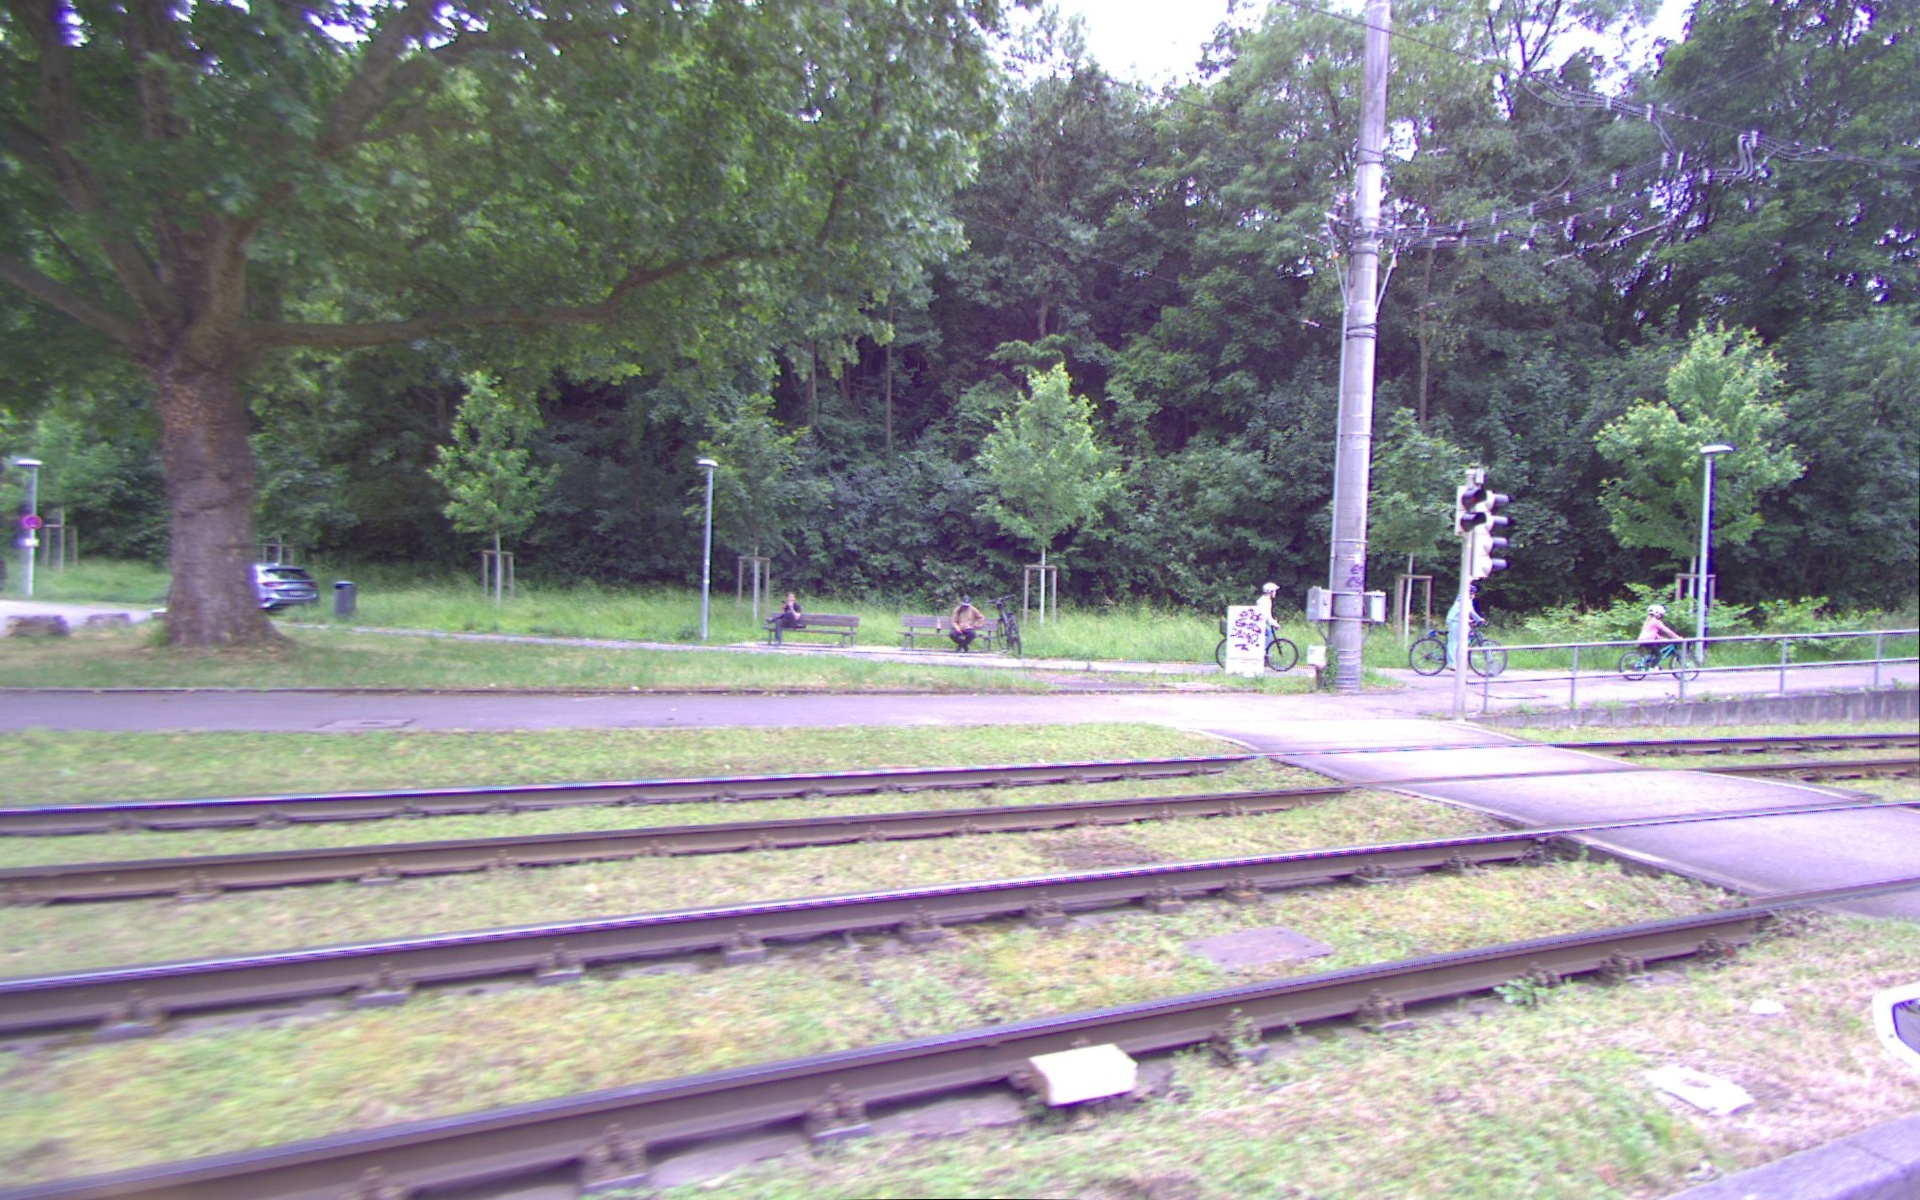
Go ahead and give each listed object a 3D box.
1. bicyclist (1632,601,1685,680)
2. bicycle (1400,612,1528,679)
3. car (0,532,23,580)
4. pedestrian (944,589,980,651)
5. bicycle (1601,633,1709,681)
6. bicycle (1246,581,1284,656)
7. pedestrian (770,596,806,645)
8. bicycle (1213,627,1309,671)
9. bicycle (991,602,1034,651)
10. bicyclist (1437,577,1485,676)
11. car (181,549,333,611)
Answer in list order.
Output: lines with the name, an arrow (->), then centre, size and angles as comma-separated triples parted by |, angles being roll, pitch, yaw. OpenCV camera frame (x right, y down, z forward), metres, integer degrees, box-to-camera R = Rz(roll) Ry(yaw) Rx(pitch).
bicyclist -> 12.014, 0.687, 17.294 | 0.569, 1.319, 0.455 | -1, 4, 1
bicycle -> 8.851, 0.780, 17.709 | 1.906, 1.055, 0.475 | 2, 3, 16
car -> -30.893, -1.447, 30.816 | 3.434, 1.443, 1.701 | 4, 3, 19
pedestrian -> 0.045, 0.424, 21.485 | 0.660, 1.252, 0.580 | 4, 3, 6
bicycle -> 11.964, 0.975, 17.311 | 1.528, 0.749, 0.455 | -1, 3, 1
bicycle -> 5.617, 0.330, 18.504 | 0.506, 1.348, 0.455 | 1, 3, -2
pedestrian -> -3.798, 0.448, 22.175 | 0.607, 1.003, 0.532 | 4, 3, 7
bicycle -> 5.539, 0.901, 18.538 | 1.620, 0.749, 0.455 | 1, 3, -2
bicycle -> 1.133, 0.534, 21.335 | 0.609, 0.897, 1.747 | 4, 3, 12
bicyclist -> 8.822, 0.458, 17.696 | 0.611, 1.697, 0.475 | 2, 4, 16
car -> -19.248, -0.566, 27.517 | 3.434, 1.443, 1.701 | 4, 3, 19
